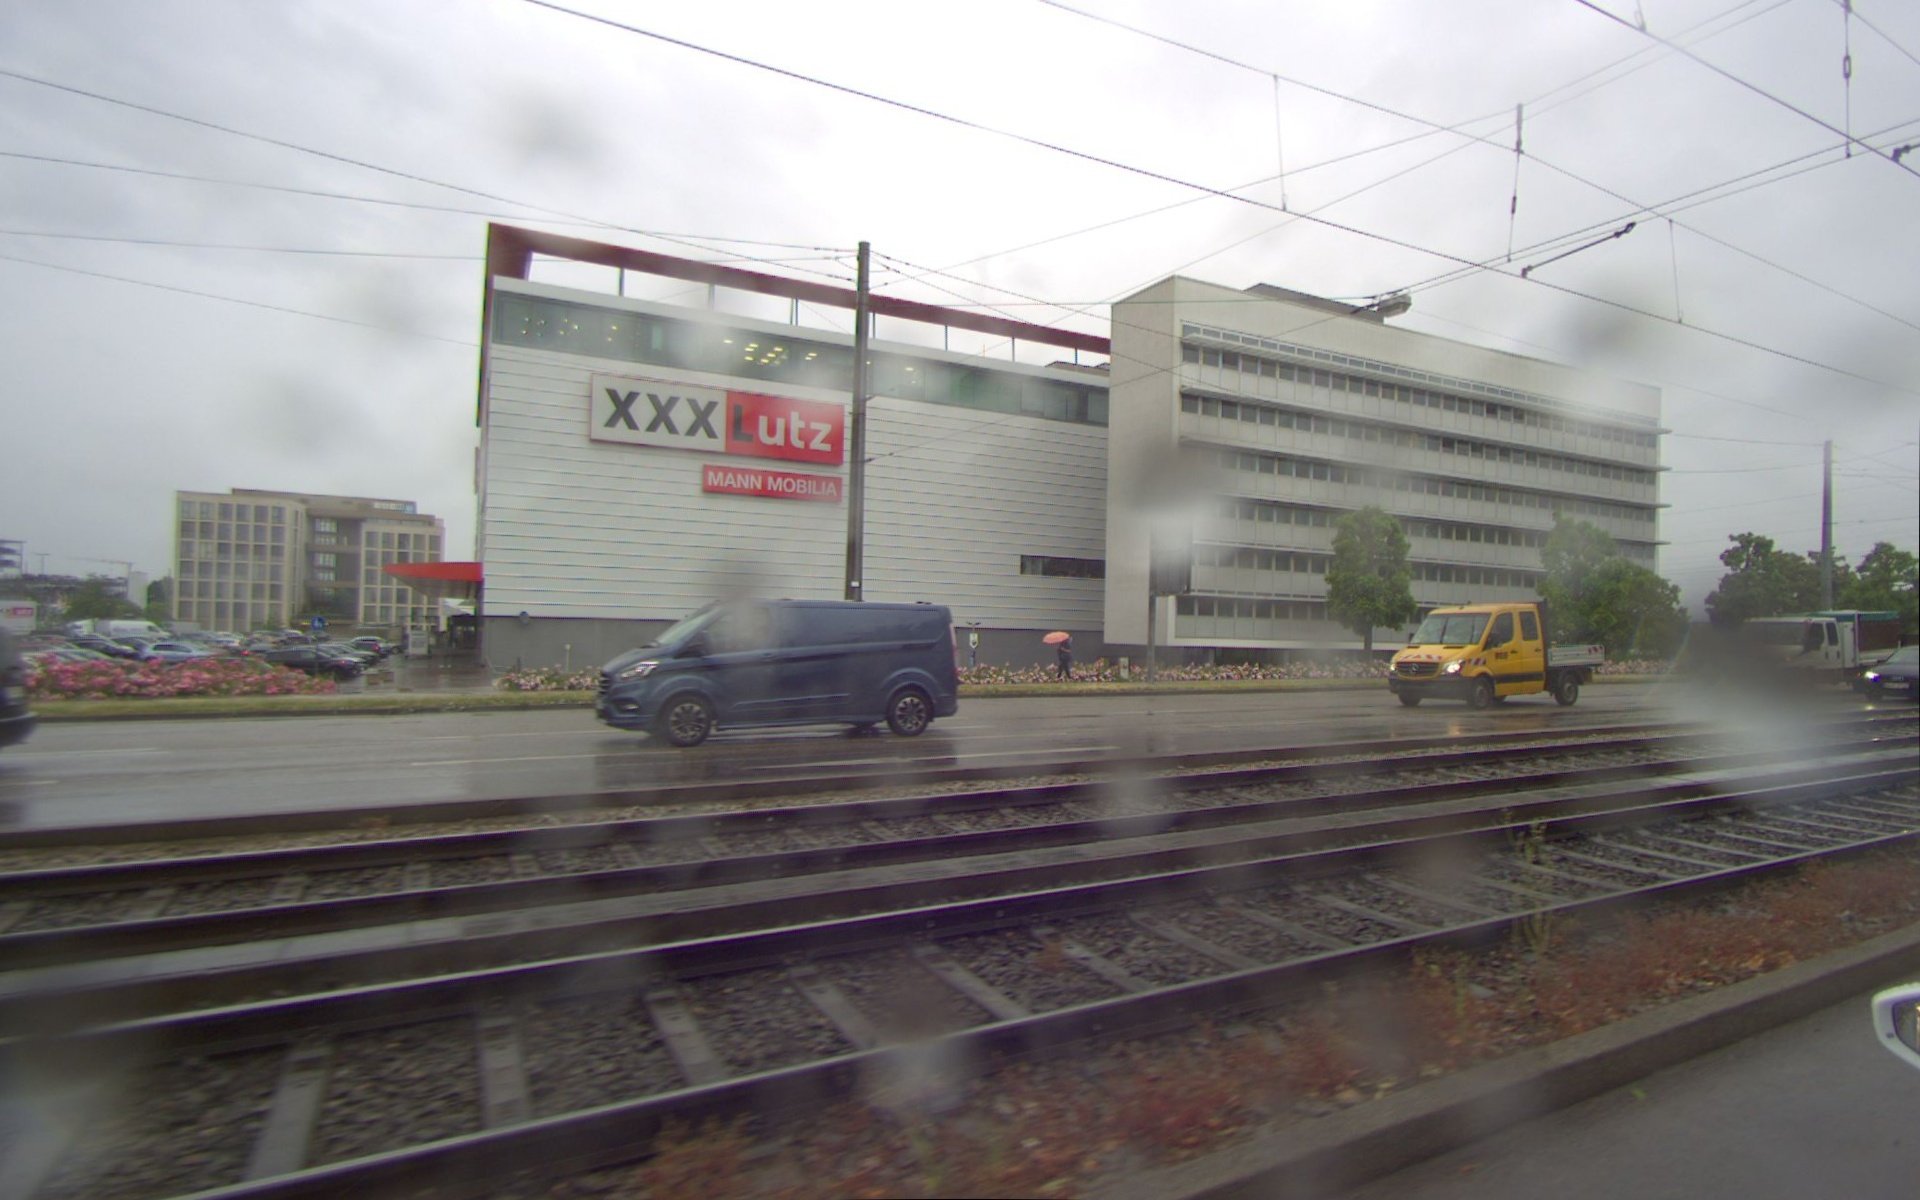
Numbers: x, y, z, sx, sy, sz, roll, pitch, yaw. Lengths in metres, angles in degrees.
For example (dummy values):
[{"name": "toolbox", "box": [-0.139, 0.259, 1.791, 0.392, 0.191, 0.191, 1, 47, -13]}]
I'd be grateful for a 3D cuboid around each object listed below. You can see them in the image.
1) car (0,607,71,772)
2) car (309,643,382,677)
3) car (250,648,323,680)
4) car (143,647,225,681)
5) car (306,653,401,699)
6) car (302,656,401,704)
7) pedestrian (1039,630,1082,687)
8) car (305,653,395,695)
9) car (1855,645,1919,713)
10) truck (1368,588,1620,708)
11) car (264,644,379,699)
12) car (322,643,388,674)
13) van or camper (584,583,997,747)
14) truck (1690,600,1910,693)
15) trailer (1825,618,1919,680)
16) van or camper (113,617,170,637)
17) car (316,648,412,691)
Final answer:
[{"name": "car", "box": [-12.044, 0.855, 9.657, 4.845, 1.638, 1.852, 2, -4, -27]}, {"name": "car", "box": [-39.982, 3.871, 65.395, 3.956, 2.040, 1.983, 2, 0, -32]}, {"name": "car", "box": [-45.380, 4.302, 67.770, 3.956, 2.040, 1.983, 2, 0, -32]}, {"name": "car", "box": [-50.381, 4.155, 65.295, 3.956, 2.040, 1.983, 2, 0, -32]}, {"name": "car", "box": [-30.111, 3.749, 49.951, 3.955, 2.040, 1.983, 2, 1, -32]}, {"name": "car", "box": [-29.053, 3.797, 48.083, 3.955, 2.040, 1.983, 2, 1, -32]}, {"name": "pedestrian", "box": [3.250, 1.899, 32.664, 1.036, 1.786, 0.820, 2, 1, -26]}, {"name": "car", "box": [-32.247, 3.881, 53.207, 3.955, 2.040, 1.983, 2, 0, -31]}, {"name": "car", "box": [25.612, 2.046, 26.369, 4.481, 1.644, 1.811, 2, -1, -29]}, {"name": "truck", "box": [12.459, 1.141, 23.330, 5.991, 2.493, 2.219, 2, -3, -28]}, {"name": "car", "box": [-18.101, 2.006, 28.570, 2.663, 1.394, 1.255, 2, 1, -32]}, {"name": "car", "box": [-43.373, 4.193, 72.056, 3.956, 2.040, 1.983, 2, 0, -32]}, {"name": "van or camper", "box": [-2.426, 0.918, 14.946, 5.619, 2.040, 2.294, 2, -2, -30]}, {"name": "truck", "box": [25.348, 1.388, 30.241, 7.125, 2.490, 2.426, 2, 1, -27]}, {"name": "trailer", "box": [30.417, 1.593, 32.681, 3.786, 1.817, 2.112, 2, 1, -26]}, {"name": "van or camper", "box": [-95.306, 3.138, 116.998, 4.941, 2.141, 1.769, 2, 0, -34]}, {"name": "car", "box": [-22.785, 2.637, 38.488, 3.078, 1.461, 1.465, 2, 1, -32]}]
